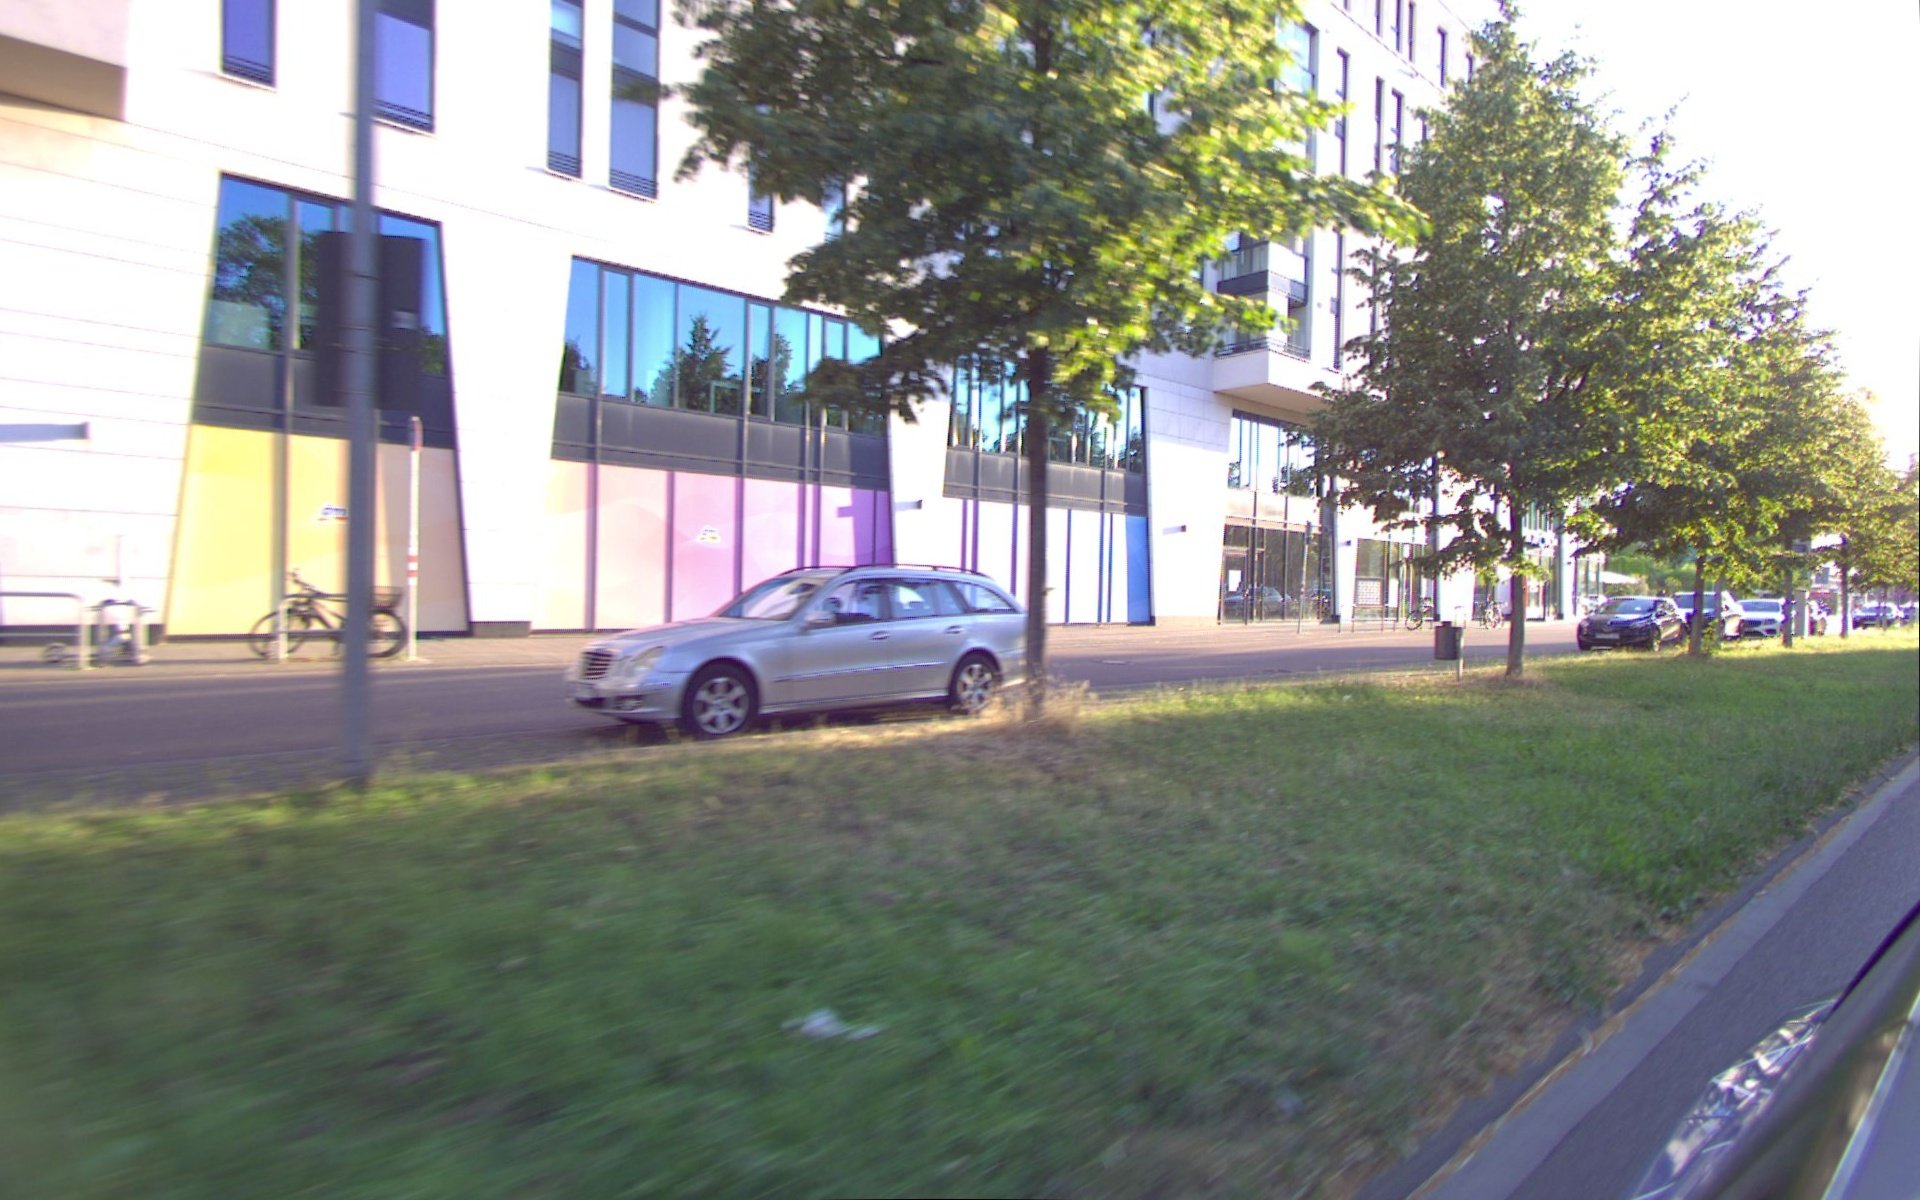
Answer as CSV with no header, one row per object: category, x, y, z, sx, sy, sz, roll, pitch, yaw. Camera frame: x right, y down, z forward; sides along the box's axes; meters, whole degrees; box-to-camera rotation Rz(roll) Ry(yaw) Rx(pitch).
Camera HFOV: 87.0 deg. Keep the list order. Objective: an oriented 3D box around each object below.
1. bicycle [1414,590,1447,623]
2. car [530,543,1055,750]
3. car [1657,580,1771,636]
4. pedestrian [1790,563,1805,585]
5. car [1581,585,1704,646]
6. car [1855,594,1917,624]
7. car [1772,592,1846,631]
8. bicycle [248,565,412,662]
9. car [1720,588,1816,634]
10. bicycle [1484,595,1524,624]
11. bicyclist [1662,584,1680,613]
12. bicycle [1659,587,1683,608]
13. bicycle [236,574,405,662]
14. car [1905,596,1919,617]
bicycle,16.094,0.216,34.621,0.533,1.073,1.587,2,1,43
car,-1.372,0.334,9.707,4.742,1.519,1.811,1,1,-42
car,23.775,0.259,31.847,4.737,1.644,1.956,0,-1,-42
pedestrian,65.732,-2.013,79.418,1.060,1.675,0.696,1,0,-42
car,18.308,0.395,27.077,4.158,1.520,1.727,1,0,-41
car,51.888,0.500,56.684,4.288,1.519,1.814,1,2,-38
car,35.026,0.463,41.712,3.891,1.519,1.811,1,1,-42
bicycle,-8.201,0.171,13.218,1.749,1.178,0.539,1,3,-41
car,29.213,0.383,36.540,4.923,1.519,1.924,1,1,-42
bicycle,20.462,0.334,38.069,2.223,1.046,0.621,0,1,-43
bicyclist,40.052,-0.096,57.035,1.001,1.588,0.546,1,0,-38
bicycle,40.077,-0.132,57.049,1.878,1.132,0.544,1,1,-38
bicycle,-8.500,0.211,13.523,0.532,1.074,1.833,4,2,36
car,65.395,0.429,68.493,3.931,1.416,1.752,0,0,-42
